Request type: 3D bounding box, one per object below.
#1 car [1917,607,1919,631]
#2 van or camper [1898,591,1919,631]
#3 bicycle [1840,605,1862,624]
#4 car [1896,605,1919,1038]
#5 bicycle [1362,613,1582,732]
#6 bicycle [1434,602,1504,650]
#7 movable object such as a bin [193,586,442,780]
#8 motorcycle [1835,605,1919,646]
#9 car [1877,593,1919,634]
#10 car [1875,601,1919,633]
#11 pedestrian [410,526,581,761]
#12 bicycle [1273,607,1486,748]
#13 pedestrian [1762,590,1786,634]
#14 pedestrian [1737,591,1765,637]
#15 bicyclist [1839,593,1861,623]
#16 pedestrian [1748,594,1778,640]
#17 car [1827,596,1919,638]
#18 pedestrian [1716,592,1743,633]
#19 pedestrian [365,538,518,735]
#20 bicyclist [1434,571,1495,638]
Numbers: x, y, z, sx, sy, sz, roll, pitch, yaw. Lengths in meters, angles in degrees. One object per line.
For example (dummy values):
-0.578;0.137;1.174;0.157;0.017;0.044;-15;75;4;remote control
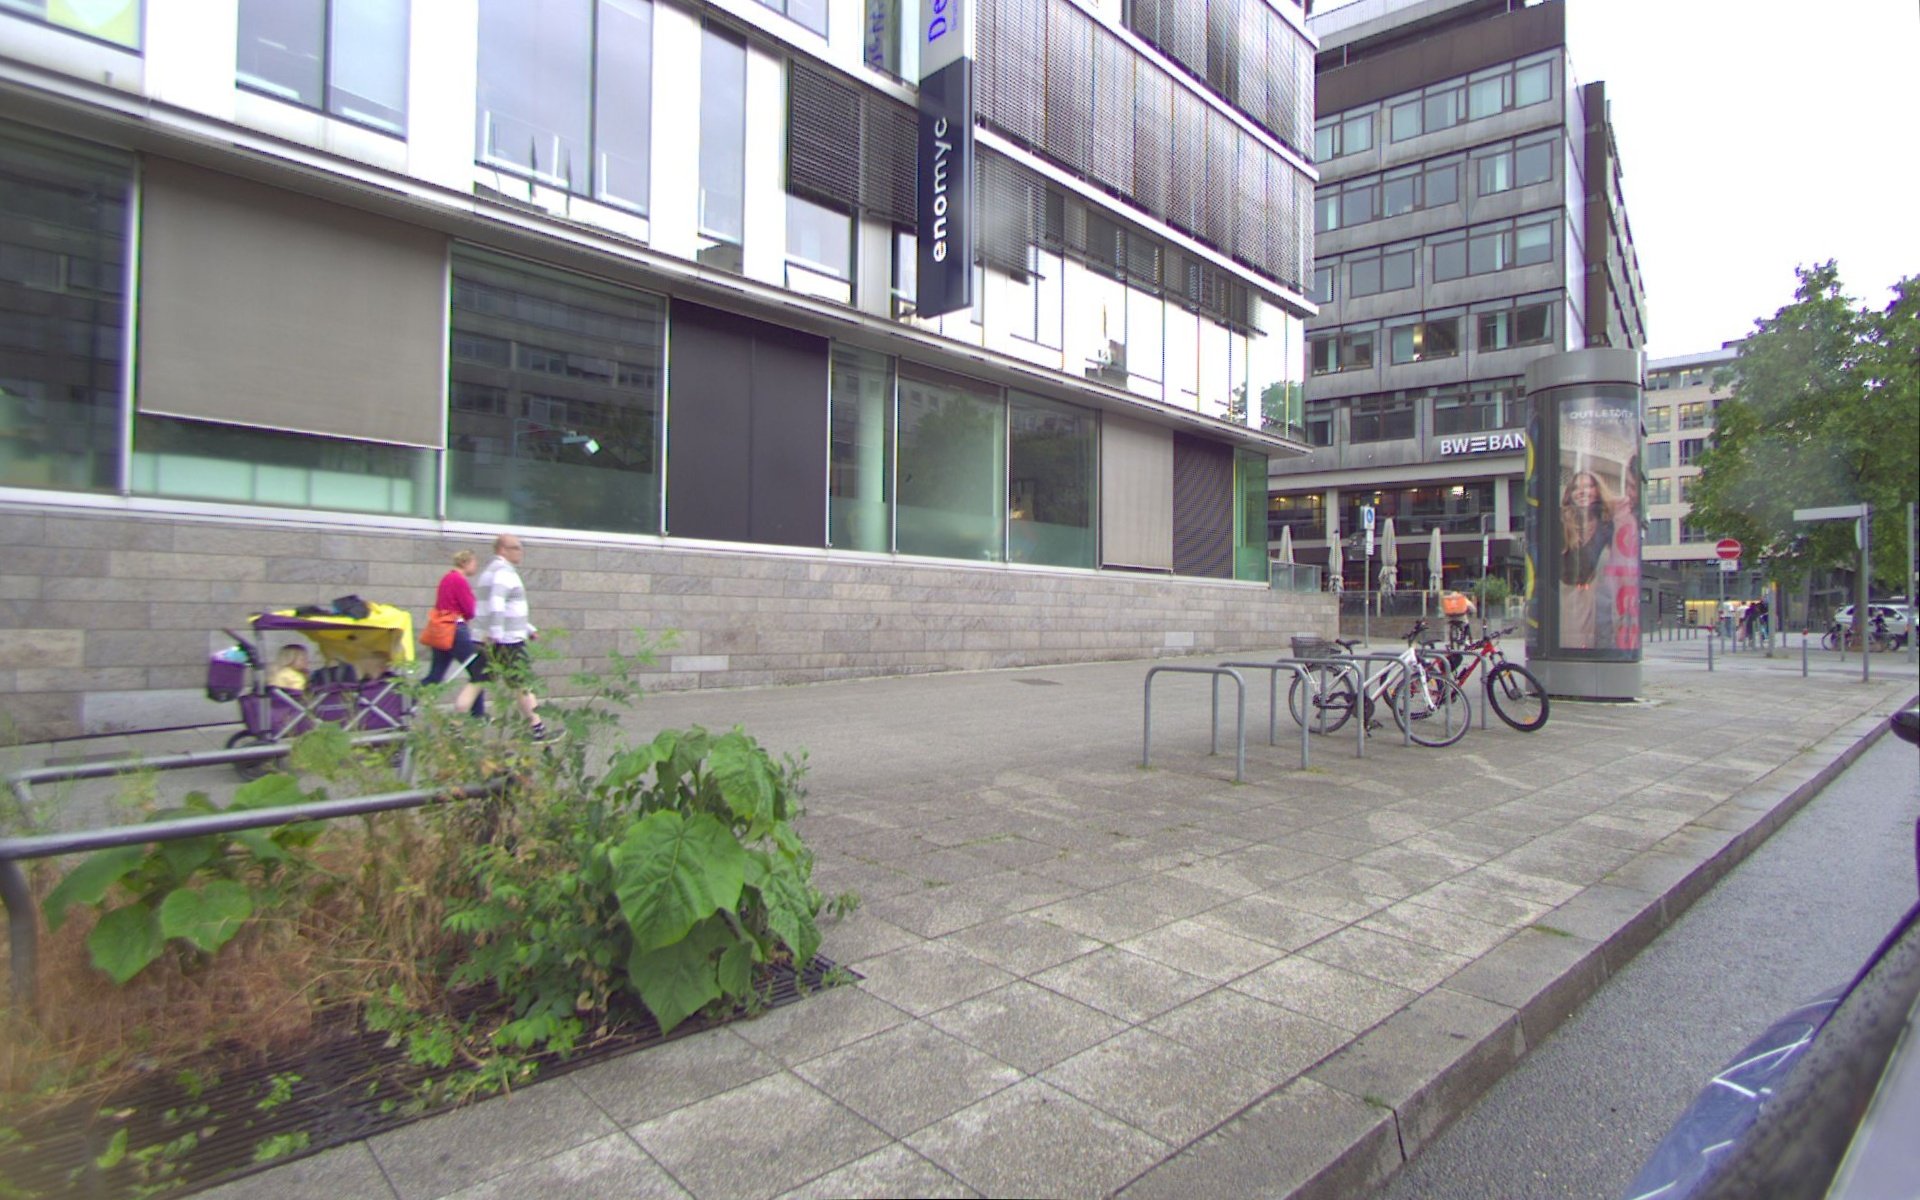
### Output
58.719;1.080;58.933;1.673;1.442;4.068;0;-1;-12;car
61.331;0.638;61.433;2.267;2.479;6.276;0;-1;-11;van or camper
54.226;0.894;61.586;1.945;1.154;0.775;1;-5;-45;bicycle
5.080;0.736;4.086;3.770;1.435;1.631;0;-1;-43;car
5.502;0.724;10.985;0.793;1.118;1.989;1;0;-37;bicycle
12.785;0.625;25.409;1.009;1.128;2.034;1;1;44;bicycle
-4.715;0.560;7.470;1.420;1.280;0.732;2;-1;-44;movable object such as a bin
31.779;0.869;35.041;0.664;1.375;2.090;1;-2;-34;motorcycle
48.785;0.665;50.233;1.882;2.018;4.525;0;-1;-12;car
46.776;0.811;48.222;1.876;1.557;4.399;0;-1;-14;car
-3.903;0.322;8.510;0.900;1.814;1.030;2;1;44;pedestrian
4.043;0.692;9.894;0.648;1.212;1.841;1;0;-37;bicycle
35.549;0.533;44.188;0.719;1.908;0.646;-2;-2;43;pedestrian
36.354;0.648;46.519;0.740;2.065;0.851;1;-2;-41;pedestrian
54.111;0.478;61.497;1.062;1.772;0.810;-1;-4;-44;bicyclist
29.632;0.634;37.369;0.713;1.707;0.525;-1;-2;24;pedestrian
38.718;0.689;41.372;1.876;1.671;4.812;0;-1;-11;car
35.794;0.601;47.072;0.883;1.893;0.802;1;-2;-42;pedestrian
-4.824;0.302;9.439;0.718;1.711;1.082;2;1;44;pedestrian
12.574;0.115;25.230;1.011;1.603;1.118;-4;-3;43;bicyclist
